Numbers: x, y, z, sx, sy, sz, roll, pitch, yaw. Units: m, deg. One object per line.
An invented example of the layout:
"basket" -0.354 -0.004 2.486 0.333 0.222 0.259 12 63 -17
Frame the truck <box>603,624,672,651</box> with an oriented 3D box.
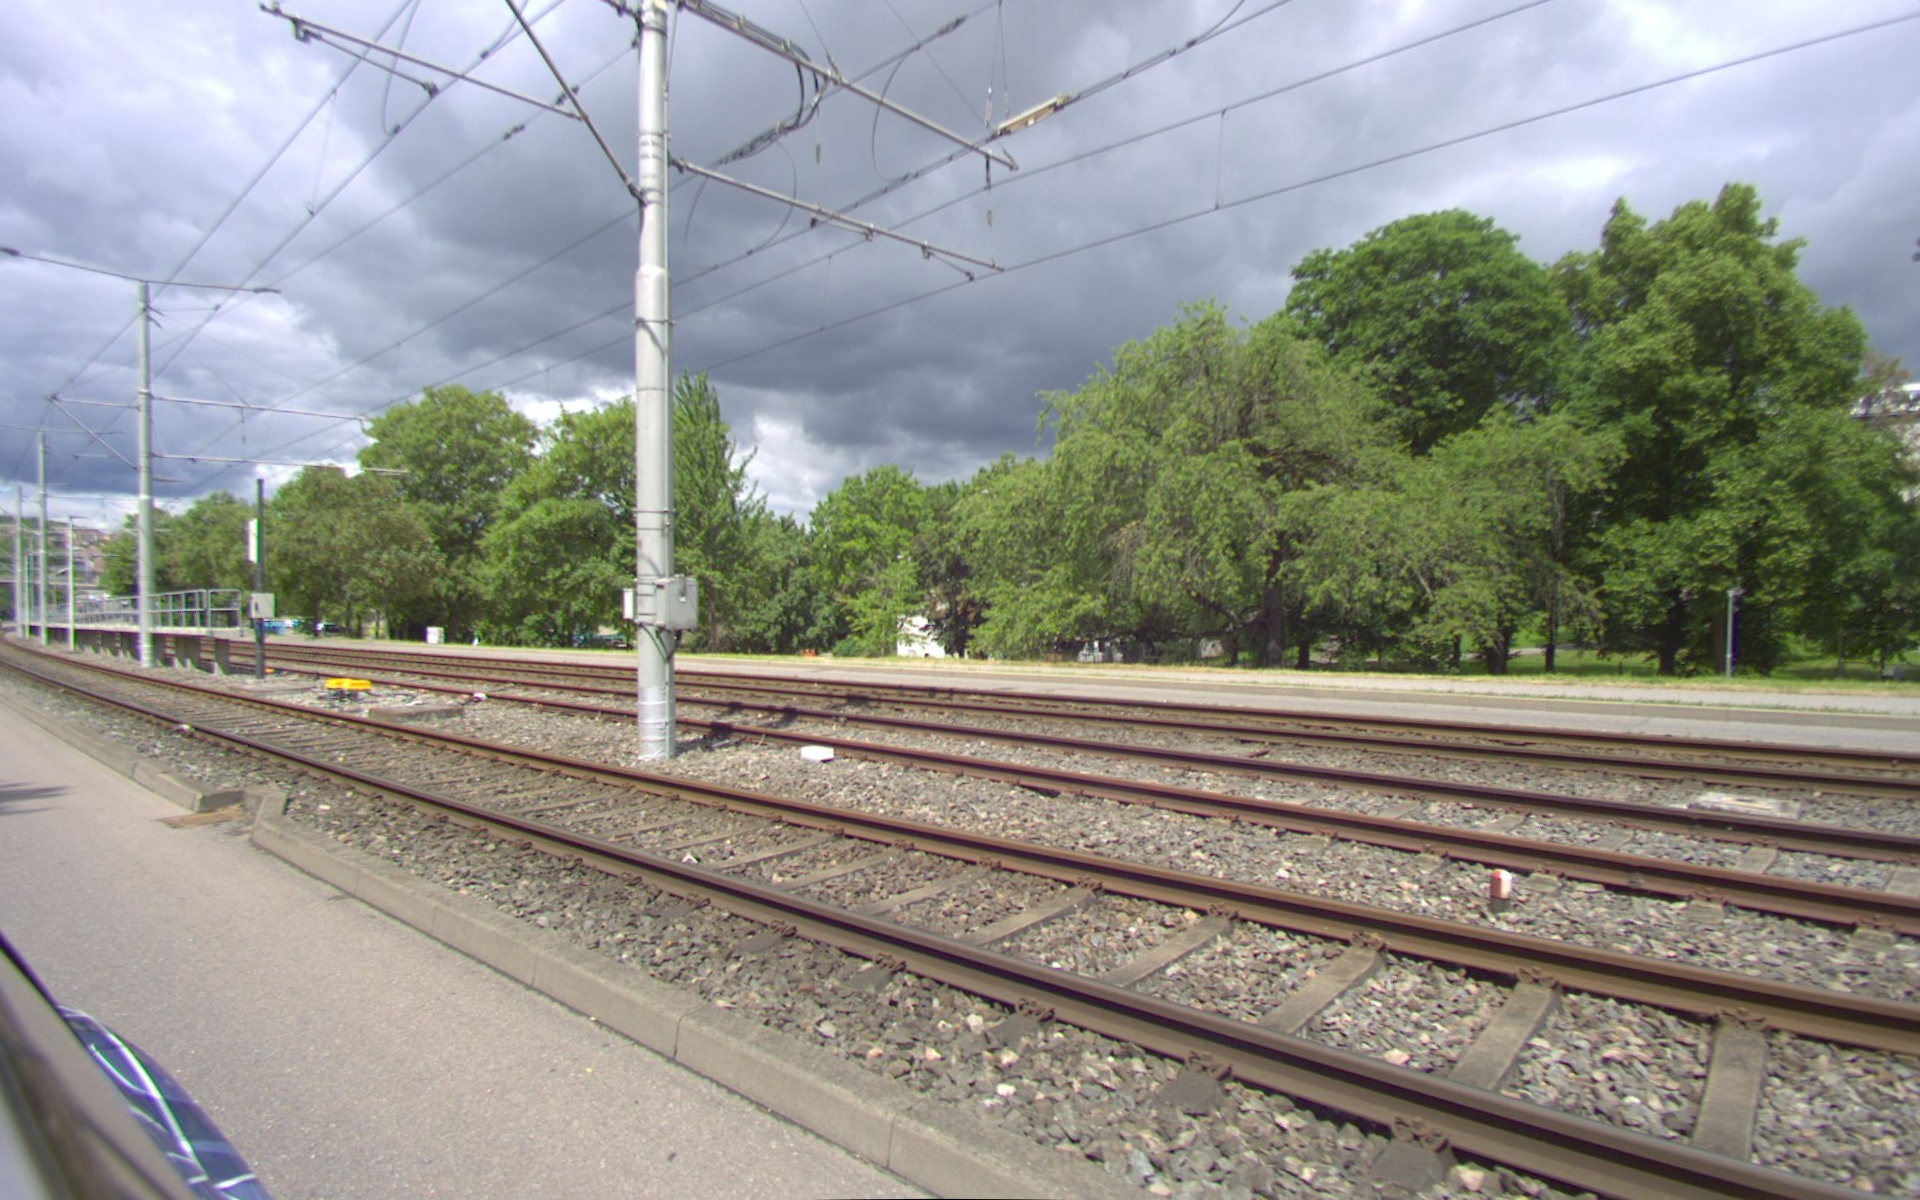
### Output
"truck" -34.978 4.071 109.841 6.523 2.877 2.682 3 -3 -43
